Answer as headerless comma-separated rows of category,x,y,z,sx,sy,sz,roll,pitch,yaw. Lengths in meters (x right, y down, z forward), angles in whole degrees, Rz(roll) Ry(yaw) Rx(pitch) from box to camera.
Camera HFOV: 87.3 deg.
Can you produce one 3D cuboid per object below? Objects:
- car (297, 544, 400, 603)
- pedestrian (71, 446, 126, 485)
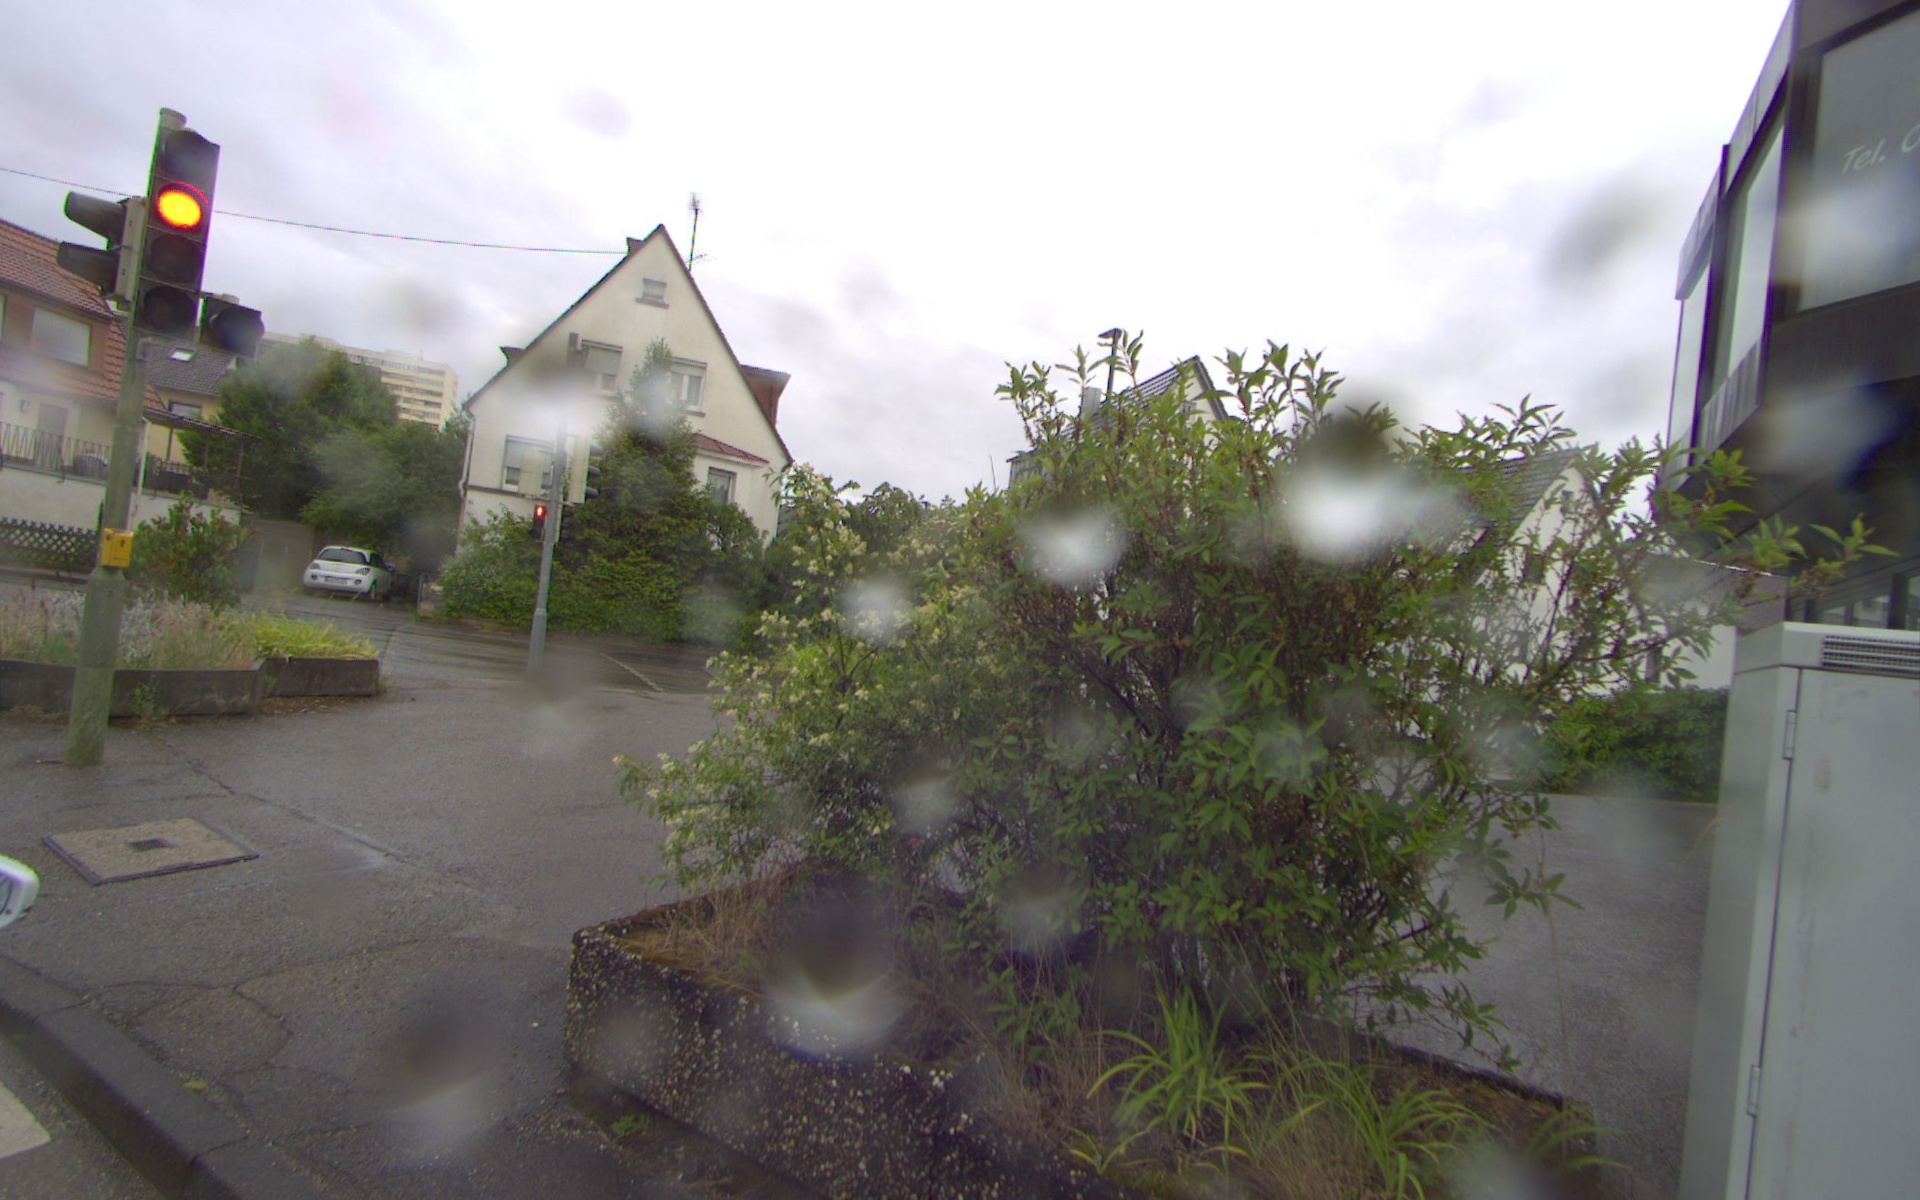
car,-17.767,-0.738,29.417,1.794,1.378,3.981,8,-2,-22
pedestrian,-24.283,-3.796,28.367,0.623,0.893,0.920,5,-2,13
